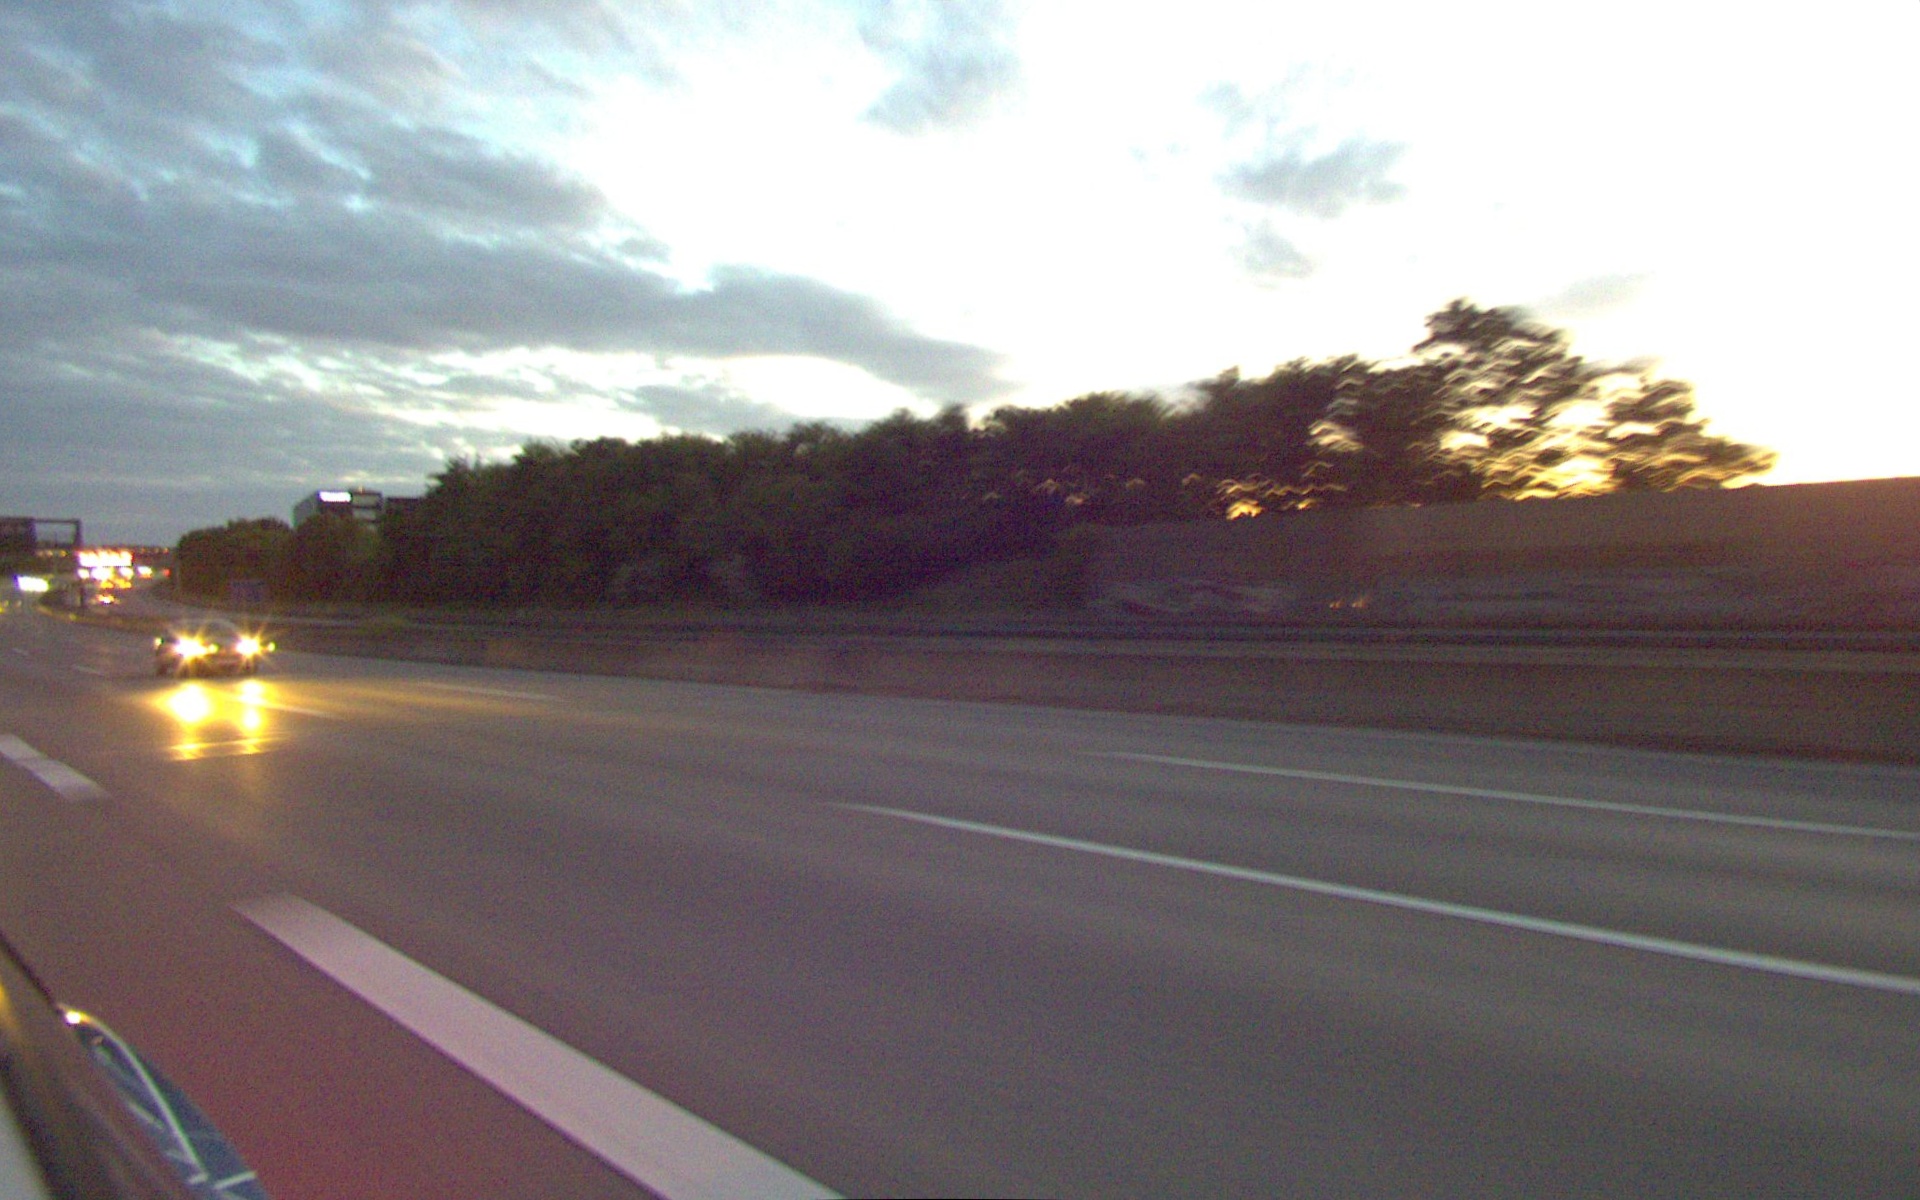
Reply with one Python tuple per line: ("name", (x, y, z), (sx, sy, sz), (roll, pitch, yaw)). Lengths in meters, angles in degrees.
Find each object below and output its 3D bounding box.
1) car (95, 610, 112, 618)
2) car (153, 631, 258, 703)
("car", (-154.721, 2.530, 182.731), (4.154, 1.430, 1.971), (0, 0, 45))
("car", (-19.770, 1.676, 26.454), (1.693, 1.491, 4.003), (0, 2, -44))
